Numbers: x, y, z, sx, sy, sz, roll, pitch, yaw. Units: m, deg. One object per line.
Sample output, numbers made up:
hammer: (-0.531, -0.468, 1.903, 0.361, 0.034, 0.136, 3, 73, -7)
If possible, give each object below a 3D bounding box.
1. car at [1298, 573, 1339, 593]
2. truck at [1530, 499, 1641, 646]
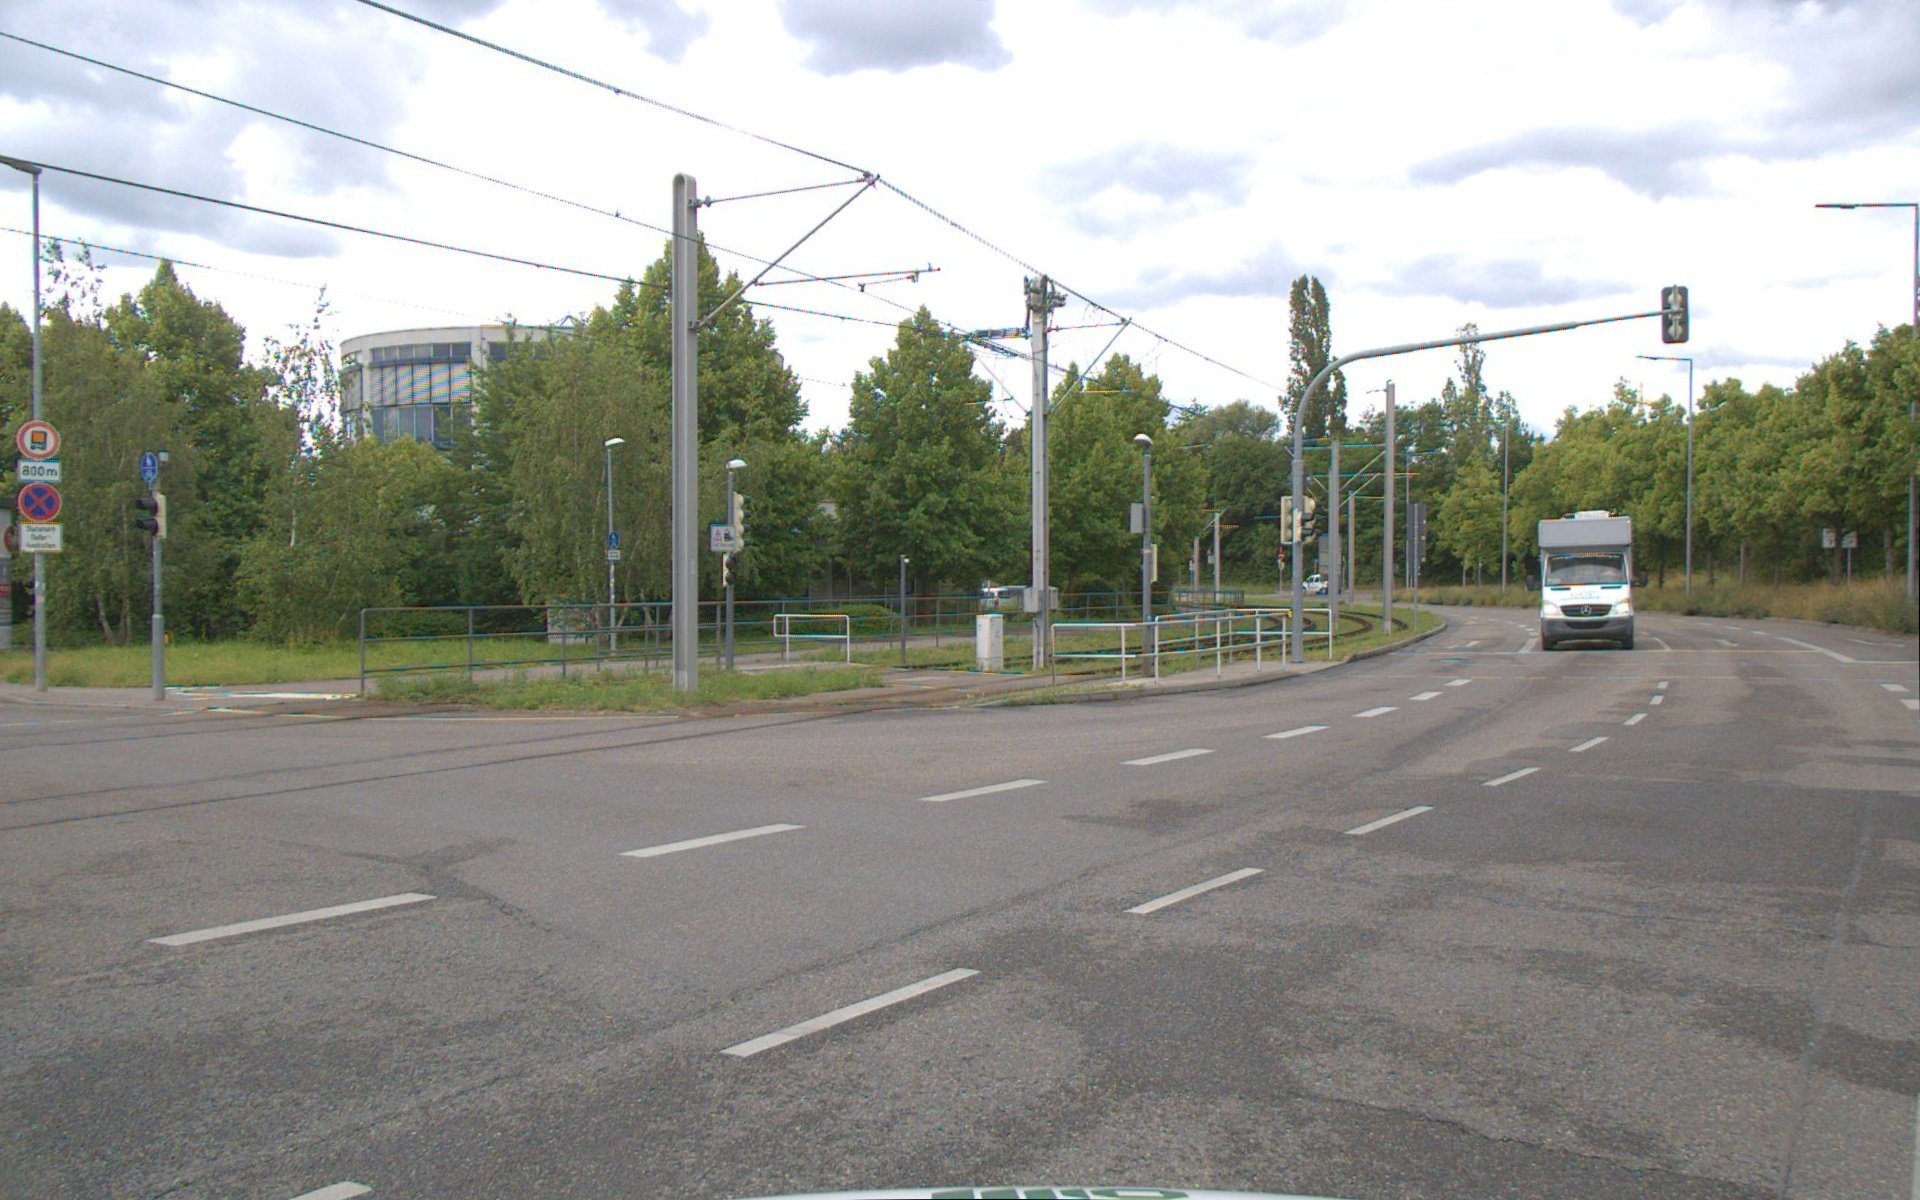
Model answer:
car: (32.830, -1.547, 151.562, 1.967, 1.758, 3.700, -1, 1, -24)
truck: (14.640, -0.607, 38.862, 2.061, 3.063, 6.275, -4, -1, 20)
